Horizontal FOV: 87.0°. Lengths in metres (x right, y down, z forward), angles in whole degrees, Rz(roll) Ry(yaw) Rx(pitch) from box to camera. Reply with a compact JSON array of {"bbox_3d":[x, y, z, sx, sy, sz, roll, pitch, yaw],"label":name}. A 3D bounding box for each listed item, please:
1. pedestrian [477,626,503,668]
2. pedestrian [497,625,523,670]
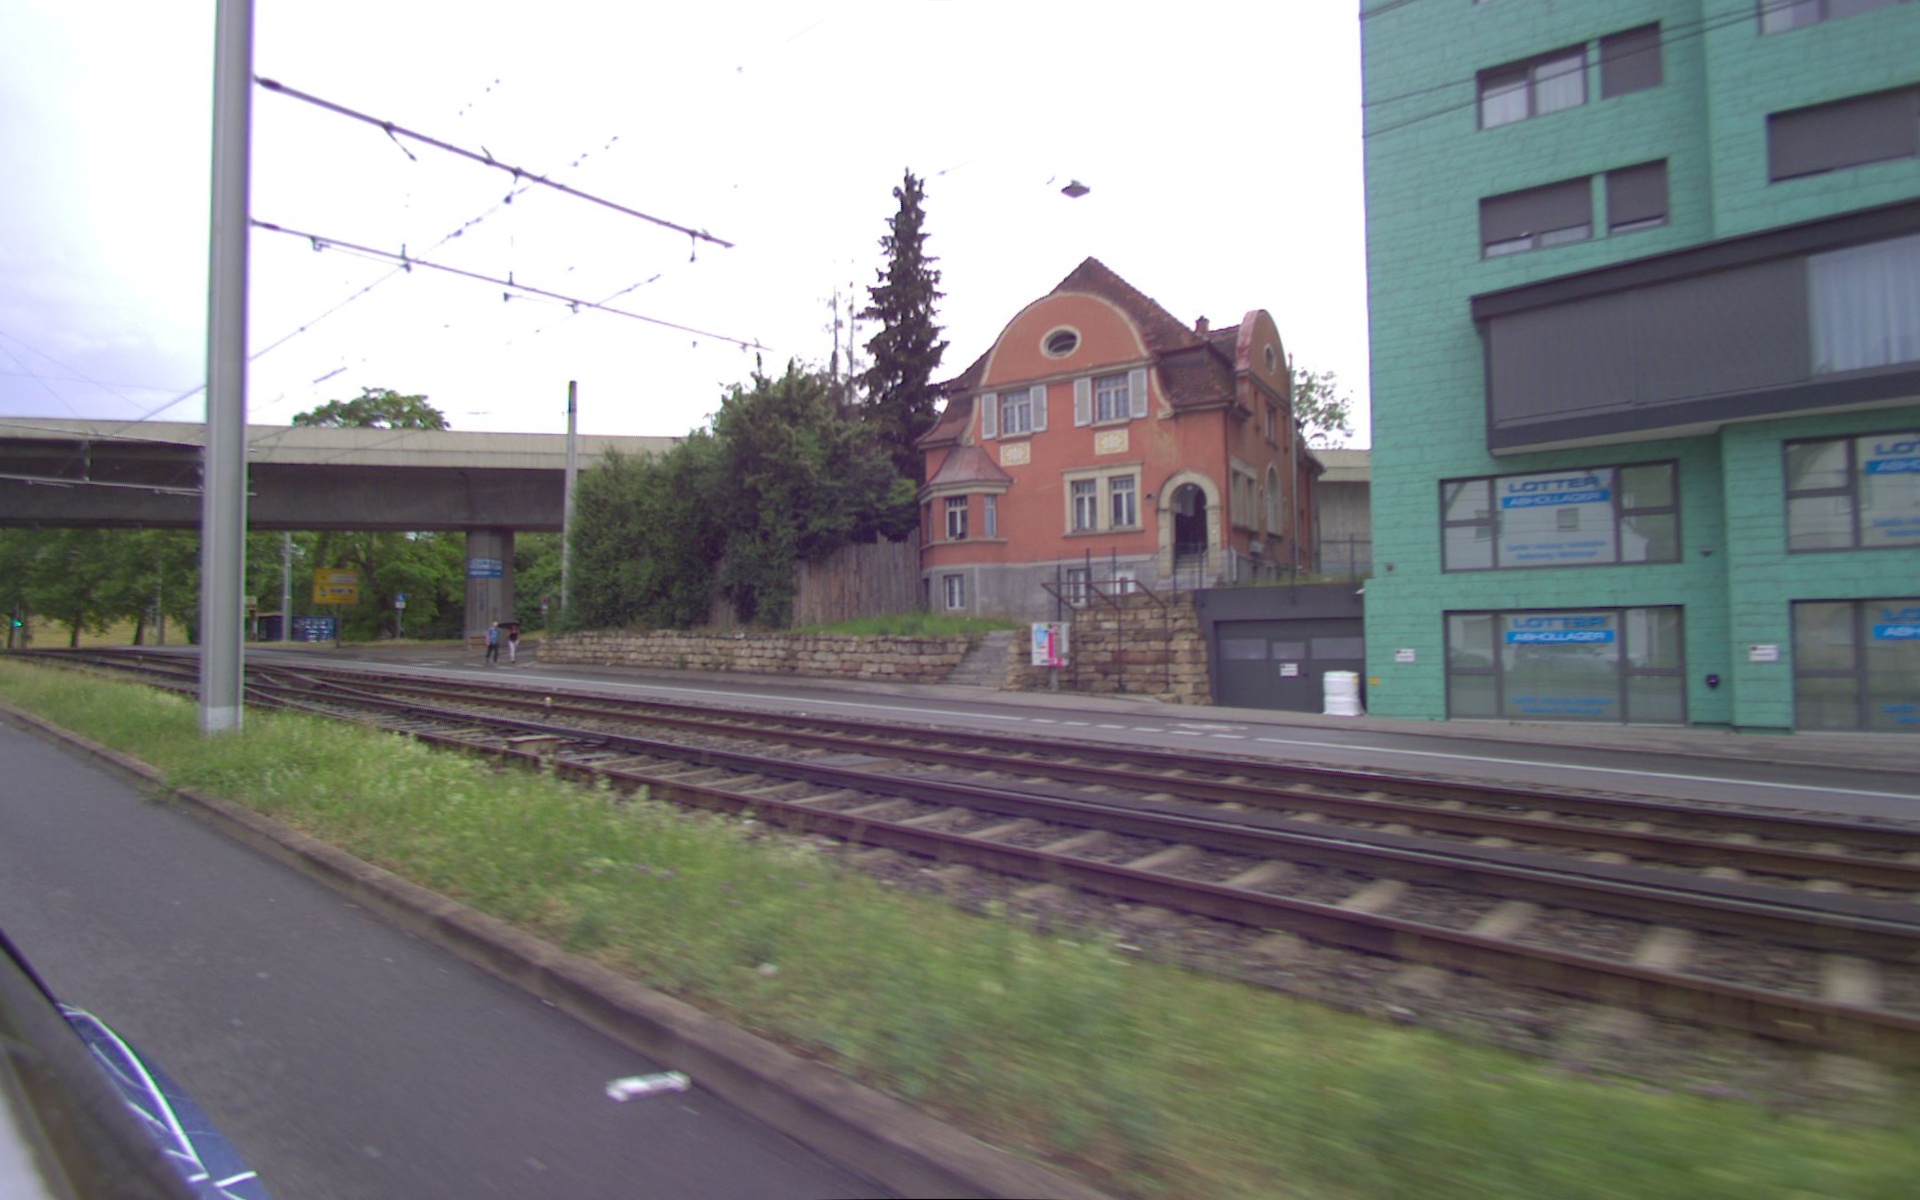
[{"bbox_3d":[-19.163,1.911,41.229,0.888,1.683,0.685,-3,-3,44],"label":"pedestrian"},{"bbox_3d":[-18.717,1.965,42.089,0.866,1.845,0.686,-3,-3,42],"label":"pedestrian"}]
